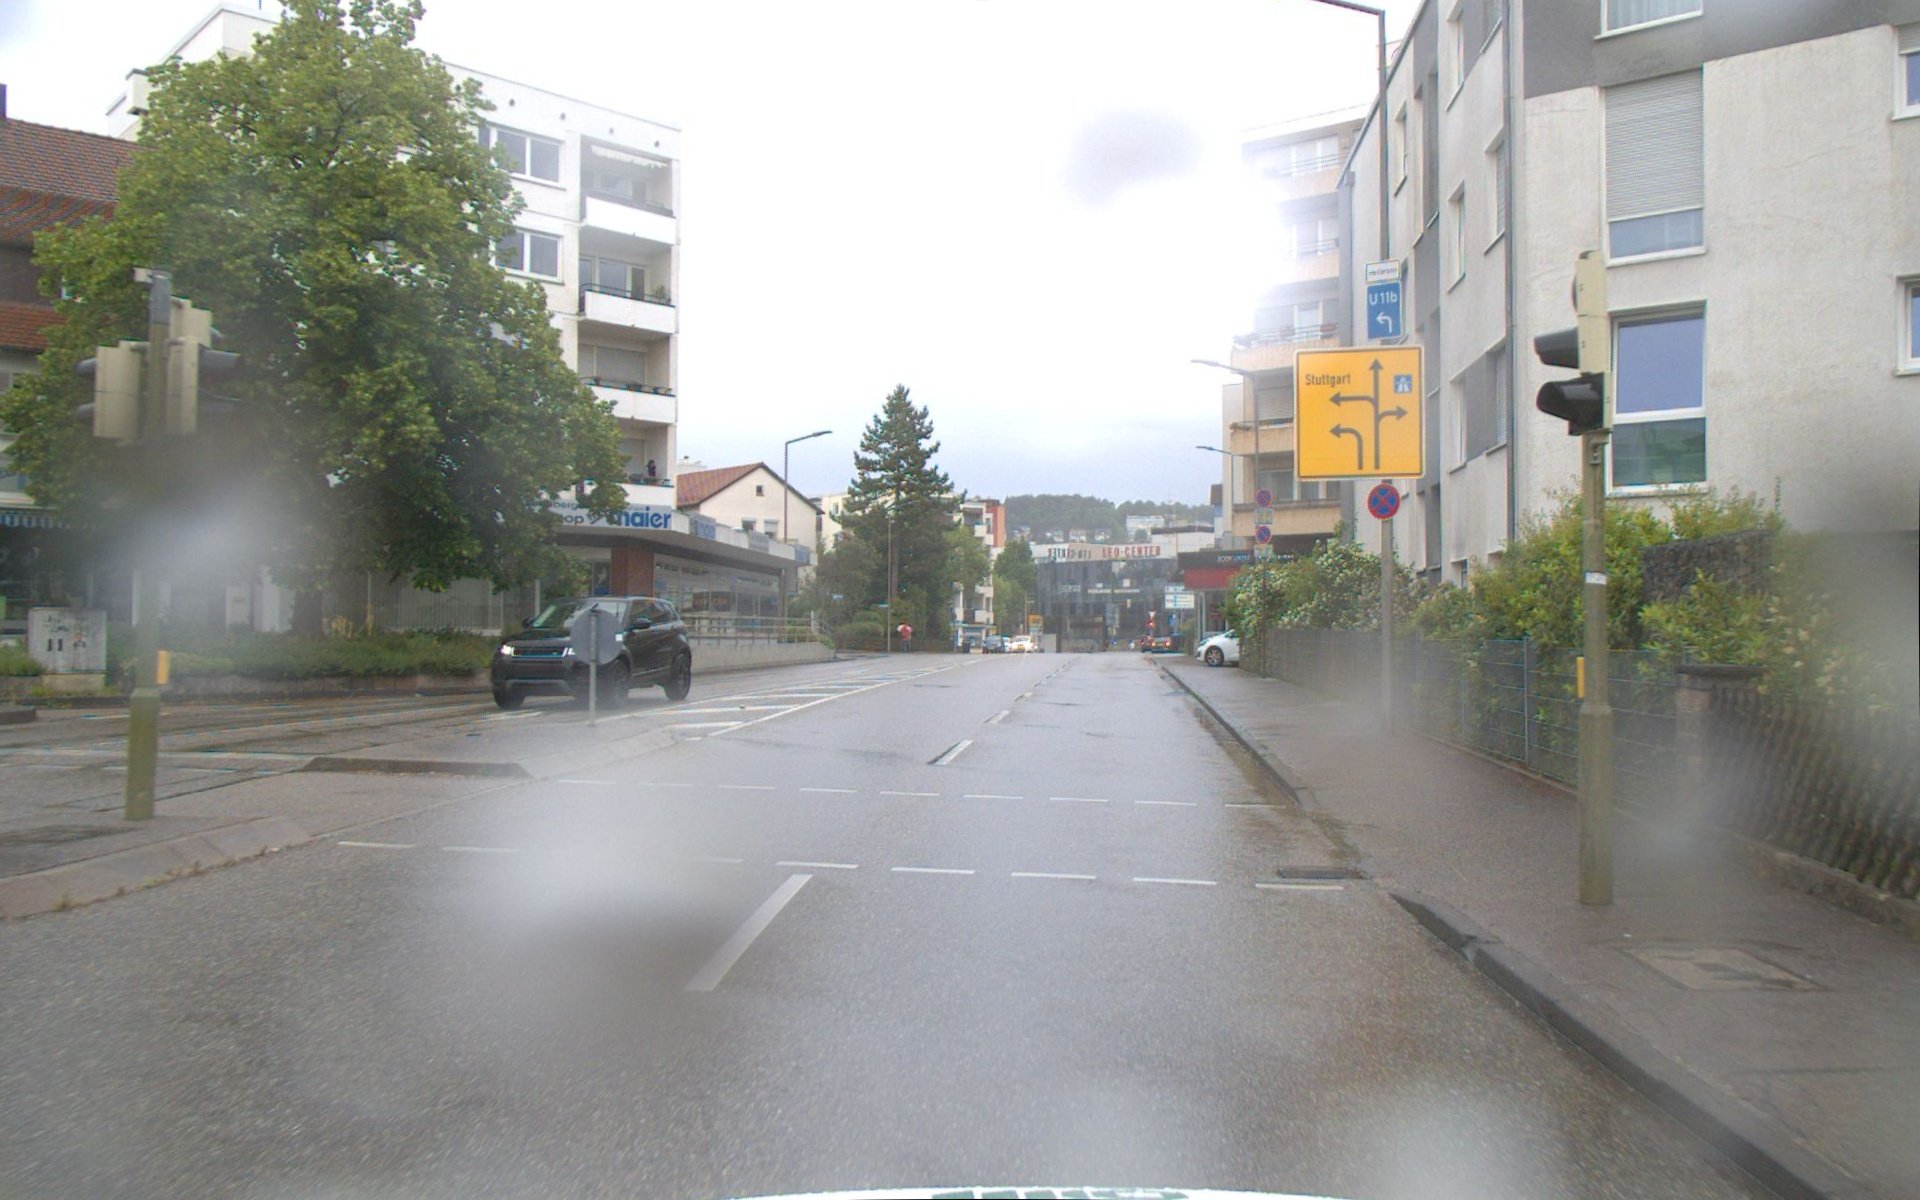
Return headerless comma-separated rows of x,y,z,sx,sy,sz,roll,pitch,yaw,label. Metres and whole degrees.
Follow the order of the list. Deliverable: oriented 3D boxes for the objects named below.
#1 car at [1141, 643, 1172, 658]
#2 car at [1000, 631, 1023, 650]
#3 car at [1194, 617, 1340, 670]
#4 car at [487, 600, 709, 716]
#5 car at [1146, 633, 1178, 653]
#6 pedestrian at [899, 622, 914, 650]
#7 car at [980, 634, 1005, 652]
19.724,5.064,165.921,1.770,1.444,3.993,-1,-2,28,car
4.326,3.405,138.849,1.662,1.433,4.002,-3,0,4,car
9.688,1.351,52.259,4.183,1.520,1.867,0,1,35,car
-5.336,0.802,24.976,1.764,1.584,4.322,0,0,10,car
17.931,3.808,146.492,1.952,1.561,4.648,0,-3,18,car
-3.201,2.167,98.786,0.851,1.635,1.103,0,-2,-1,pedestrian
2.842,3.733,144.050,1.616,1.548,4.327,0,-2,9,car
